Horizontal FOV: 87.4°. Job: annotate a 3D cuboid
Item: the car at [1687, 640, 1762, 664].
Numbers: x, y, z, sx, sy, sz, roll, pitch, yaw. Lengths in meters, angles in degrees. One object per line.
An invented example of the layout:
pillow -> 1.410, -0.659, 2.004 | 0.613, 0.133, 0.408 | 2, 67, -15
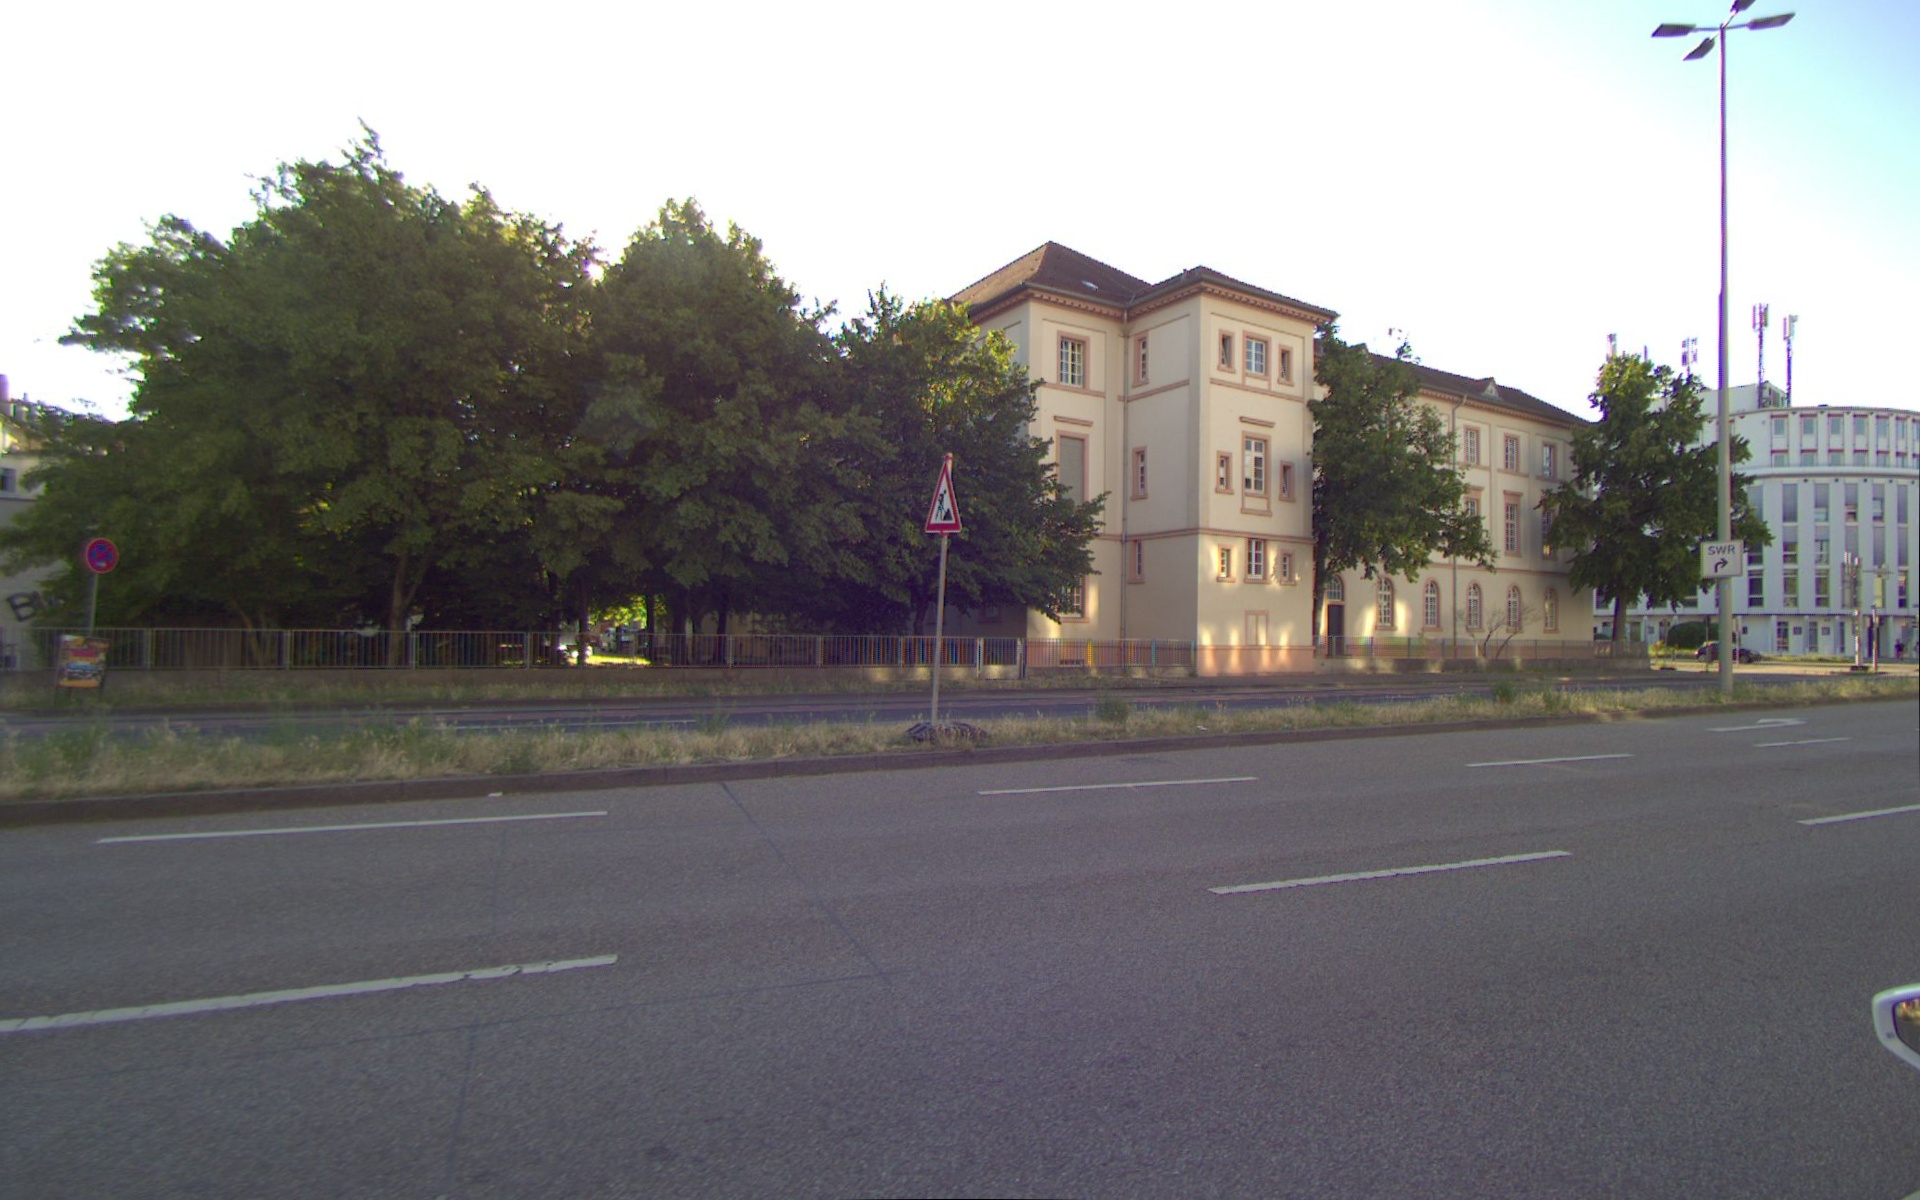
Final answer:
car -> 53.007, 3.616, 69.668 | 1.846, 1.549, 3.783 | 4, -5, -36

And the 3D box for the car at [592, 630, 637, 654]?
car -> -22.321, 2.705, 64.847 | 1.978, 1.541, 3.656 | 2, -2, -31

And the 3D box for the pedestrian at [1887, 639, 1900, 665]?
pedestrian -> 67.490, 3.750, 72.637 | 0.653, 1.883, 0.774 | -1, -2, 45

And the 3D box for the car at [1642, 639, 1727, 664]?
car -> 49.855, 3.522, 69.206 | 1.975, 1.650, 4.328 | 2, -2, -28

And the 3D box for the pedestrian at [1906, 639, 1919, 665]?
pedestrian -> 68.179, 3.714, 71.822 | 0.813, 1.866, 0.751 | 2, -2, -43
